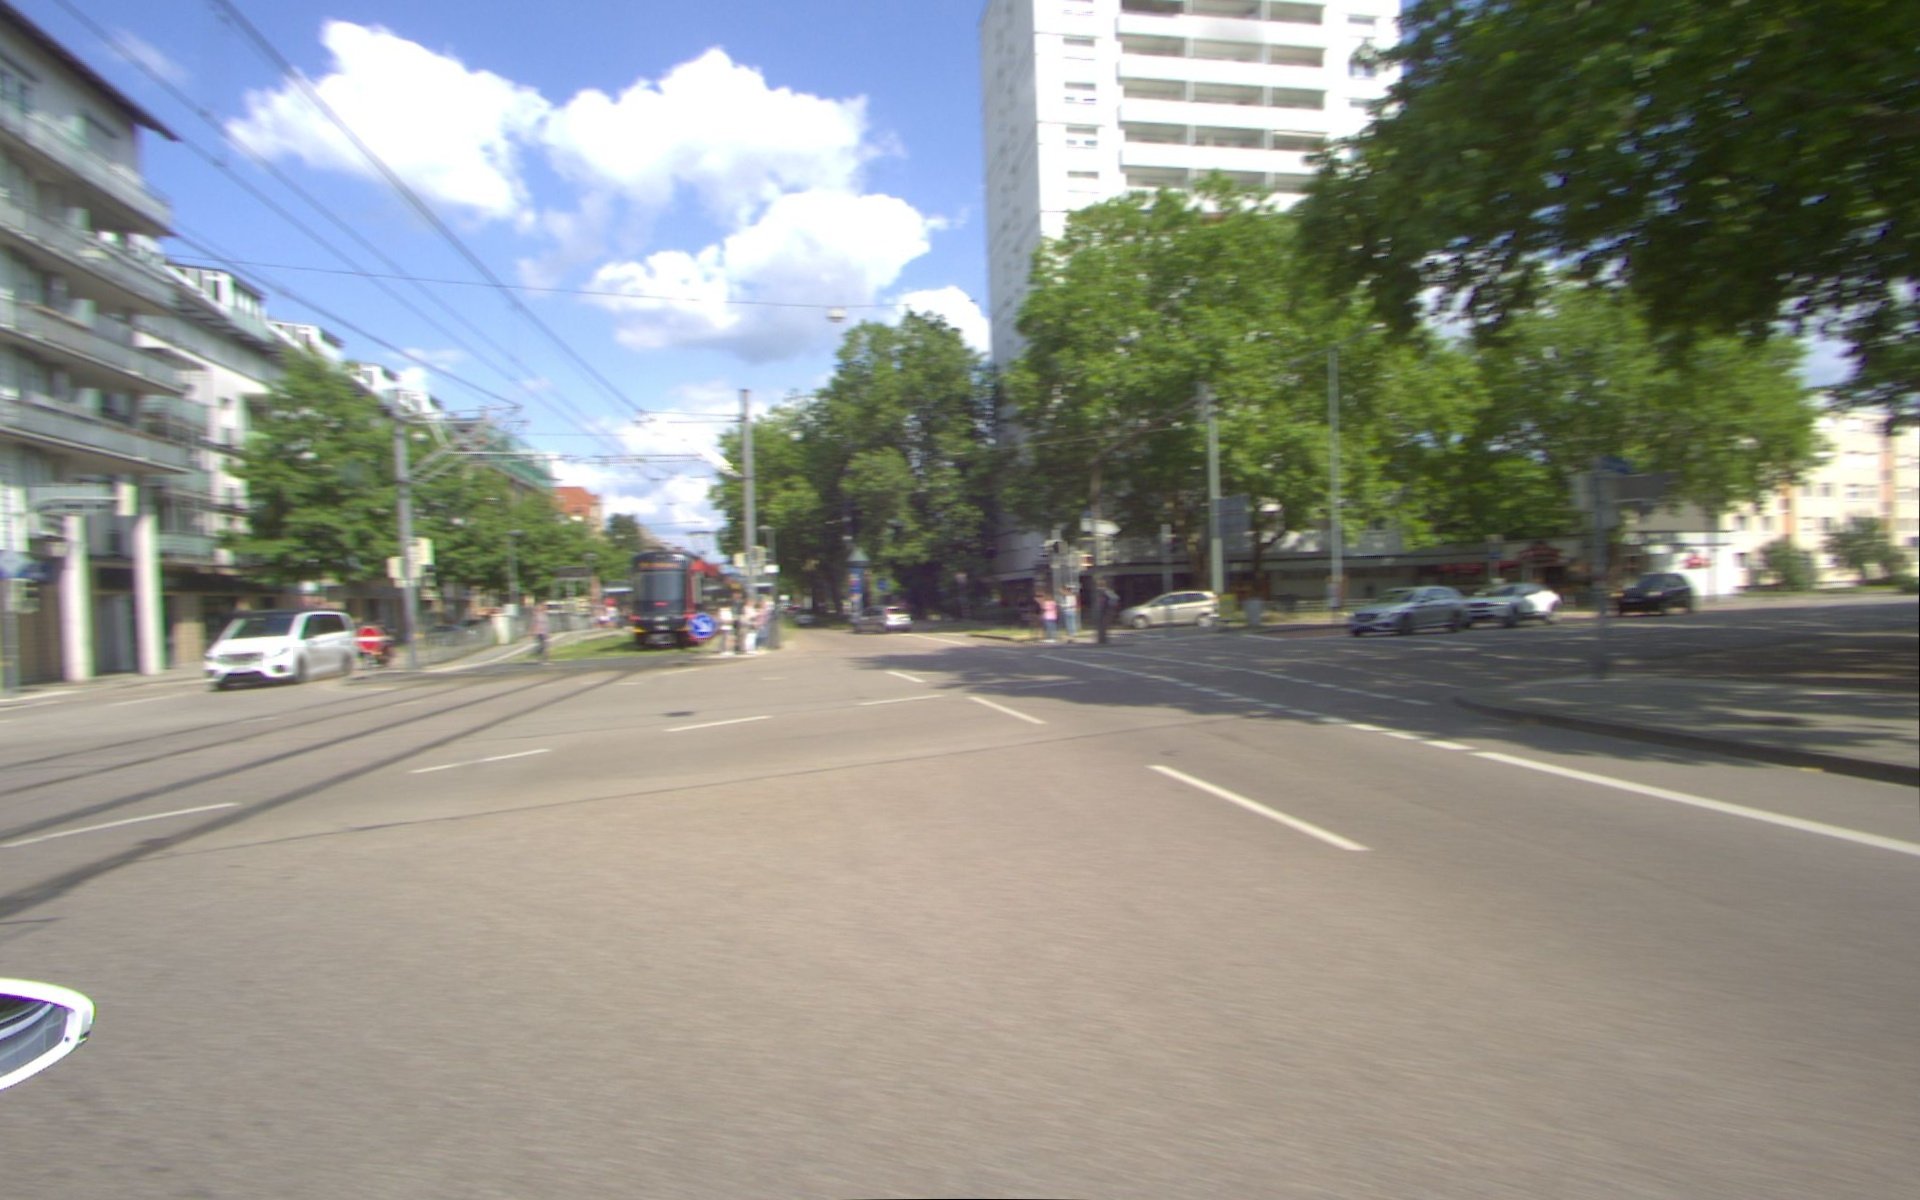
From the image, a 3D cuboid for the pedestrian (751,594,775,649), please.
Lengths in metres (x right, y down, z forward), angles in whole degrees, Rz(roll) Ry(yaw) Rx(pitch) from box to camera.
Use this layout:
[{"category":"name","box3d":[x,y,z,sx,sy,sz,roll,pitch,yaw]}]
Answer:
[{"category":"pedestrian","box3d":[-6.282,0.670,31.898,0.659,1.726,0.647,-2,1,-8]}]

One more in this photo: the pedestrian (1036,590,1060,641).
[{"category":"pedestrian","box3d":[2.871,0.507,32.786,0.505,1.619,0.553,-3,1,-32]}]

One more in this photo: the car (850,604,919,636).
[{"category":"car","box3d":[-3.944,1.043,51.858,1.717,1.504,3.640,-3,1,-41]}]

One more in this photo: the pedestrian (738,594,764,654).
[{"category":"pedestrian","box3d":[-6.237,0.711,29.925,0.659,1.726,0.647,-2,1,-8]}]

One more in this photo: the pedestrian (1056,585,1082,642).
[{"category":"pedestrian","box3d":[3.426,0.425,31.408,0.521,1.759,0.553,-3,1,-32]}]

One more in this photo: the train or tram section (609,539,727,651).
[{"category":"train or tram section","box3d":[-11.017,-0.173,38.978,2.752,3.608,11.369,-2,0,-8]}]

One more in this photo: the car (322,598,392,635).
[{"category":"car","box3d":[-30.770,0.815,51.226,1.818,1.813,3.996,0,0,-12]}]

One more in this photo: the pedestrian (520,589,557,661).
[{"category":"pedestrian","box3d":[-12.246,0.730,29.088,0.726,2.041,0.703,-2,1,-5]}]

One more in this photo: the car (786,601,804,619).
[{"category":"car","box3d":[-19.112,1.137,115.977,1.962,2.040,3.997,-1,0,-10]}]

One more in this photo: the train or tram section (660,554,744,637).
[{"category":"train or tram section","box3d":[-12.673,-0.198,50.170,2.761,3.608,11.174,-2,0,-8]}]

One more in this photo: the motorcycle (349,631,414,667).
[{"category":"motorcycle","box3d":[-19.752,1.653,34.269,0.879,1.036,3.099,-2,0,-10]}]

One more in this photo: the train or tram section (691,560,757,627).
[{"category":"train or tram section","box3d":[-14.347,-0.348,61.700,2.761,3.608,12.148,-2,0,-8]}]

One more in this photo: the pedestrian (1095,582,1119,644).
[{"category":"pedestrian","box3d":[4.417,0.385,30.104,0.475,1.849,0.553,-1,1,32]}]

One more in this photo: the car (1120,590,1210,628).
[{"category":"car","box3d":[9.055,0.393,44.391,3.776,1.510,1.860,-2,0,9]}]

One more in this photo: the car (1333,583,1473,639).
[{"category":"car","box3d":[13.564,0.319,30.651,3.939,1.510,1.853,-2,0,-28]}]

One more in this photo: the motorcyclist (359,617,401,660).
[{"category":"motorcyclist","box3d":[-19.758,1.298,34.143,0.879,1.423,1.087,-2,1,-10]}]

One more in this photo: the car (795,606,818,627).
[{"category":"car","box3d":[-12.167,1.294,79.606,1.720,1.472,3.603,-2,0,-8]}]

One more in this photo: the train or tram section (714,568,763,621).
[{"category":"train or tram section","box3d":[-15.847,-0.368,72.143,2.723,3.529,8.900,-2,0,-9]}]

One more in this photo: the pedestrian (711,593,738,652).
[{"category":"pedestrian","box3d":[-7.006,0.666,29.837,0.659,1.726,0.647,-2,1,-8]}]

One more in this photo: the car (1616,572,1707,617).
[{"category":"car","box3d":[28.367,-0.228,40.488,3.945,1.641,1.680,-2,1,-33]}]

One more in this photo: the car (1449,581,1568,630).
[{"category":"car","box3d":[18.793,0.175,34.282,4.019,1.510,1.850,-2,0,-32]}]

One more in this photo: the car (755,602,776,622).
[{"category":"car","box3d":[-18.724,1.177,96.521,1.786,1.828,3.998,-2,0,-8]}]

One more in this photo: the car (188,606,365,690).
[{"category":"car","box3d":[-17.913,1.157,26.618,1.963,1.916,5.166,-2,0,-12]}]

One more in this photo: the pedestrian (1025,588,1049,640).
[{"category":"pedestrian","box3d":[2.556,0.469,33.286,0.505,1.693,0.553,-3,1,-32]}]
